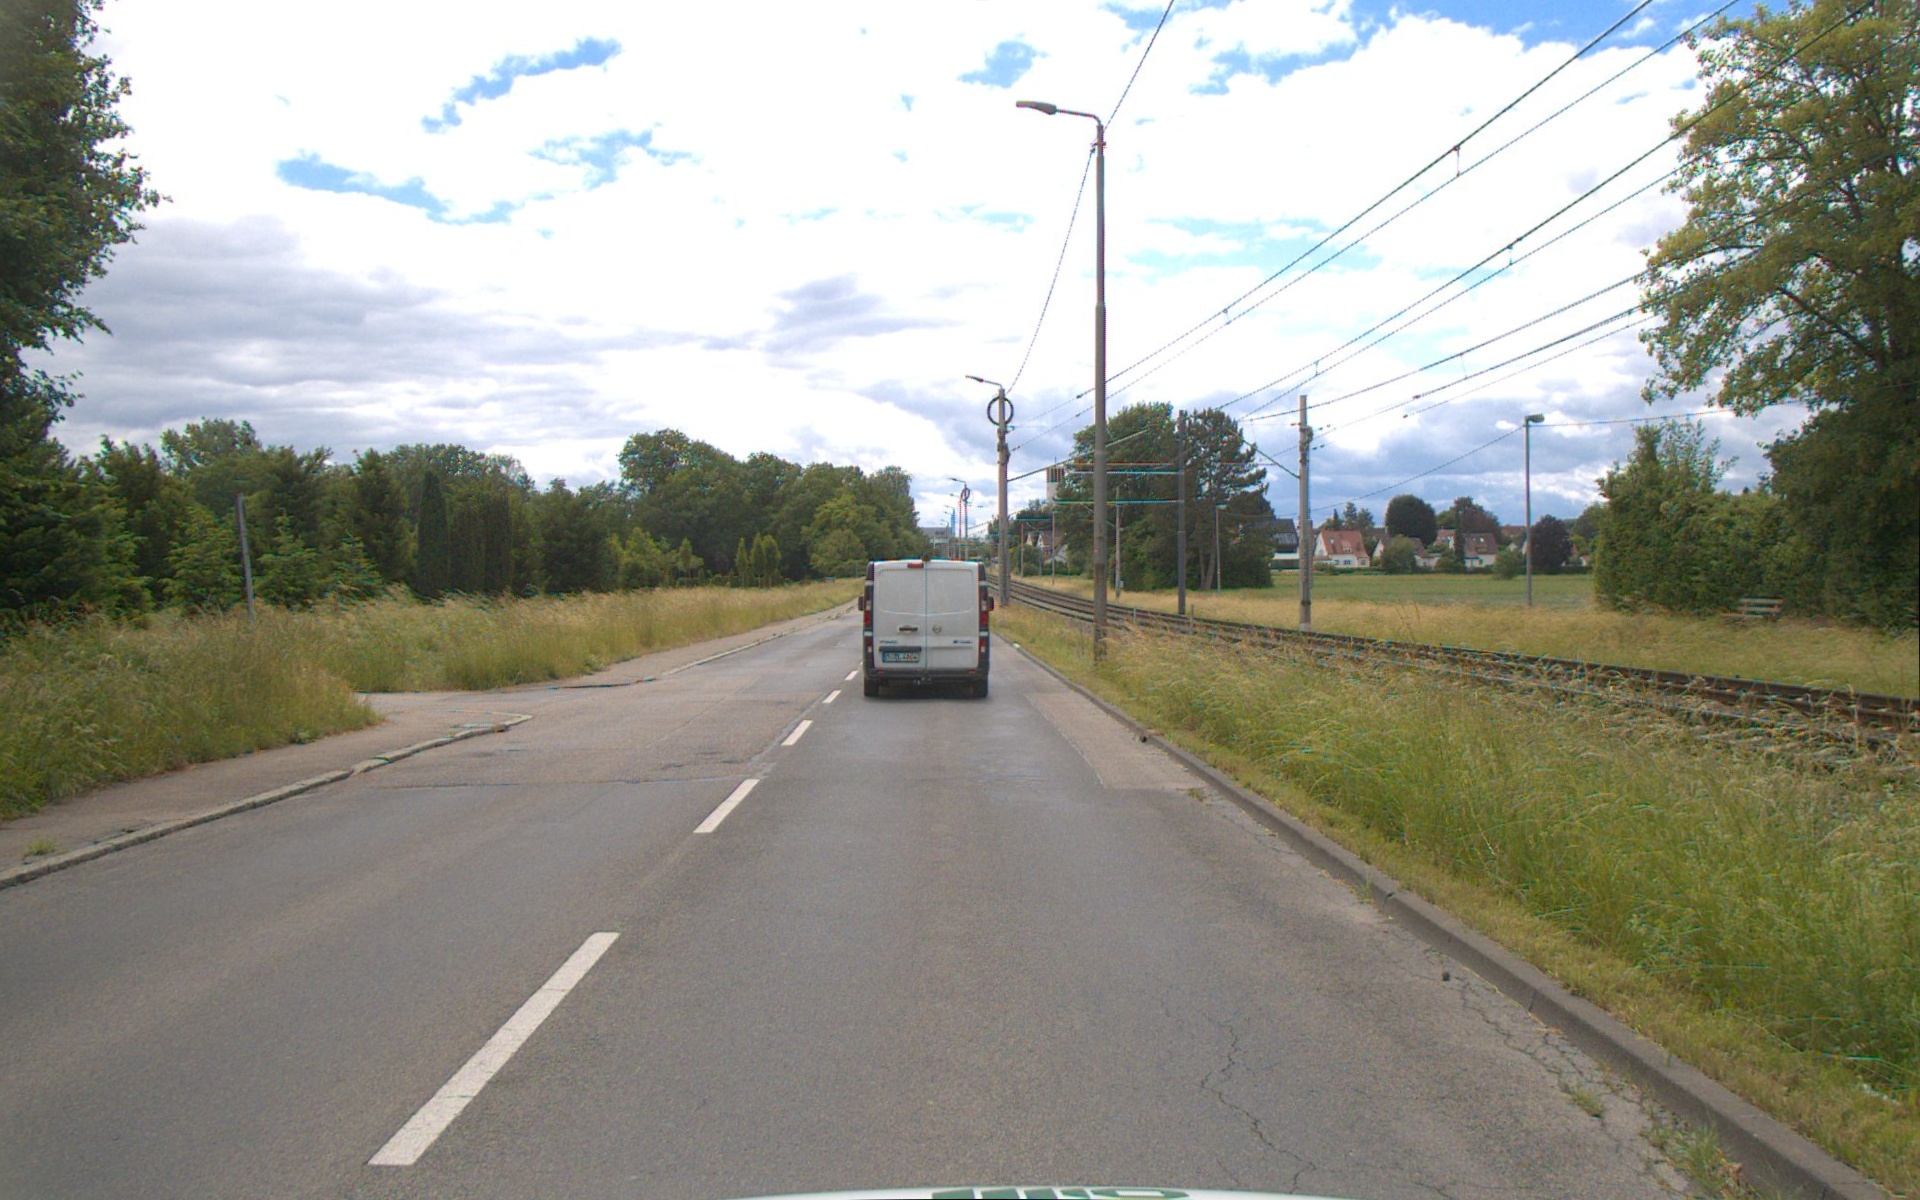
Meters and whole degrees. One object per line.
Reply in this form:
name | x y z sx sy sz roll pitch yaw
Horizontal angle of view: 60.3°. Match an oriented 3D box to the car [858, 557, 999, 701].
car | -0.514 0.403 24.982 1.953 1.991 3.998 0 0 -2
